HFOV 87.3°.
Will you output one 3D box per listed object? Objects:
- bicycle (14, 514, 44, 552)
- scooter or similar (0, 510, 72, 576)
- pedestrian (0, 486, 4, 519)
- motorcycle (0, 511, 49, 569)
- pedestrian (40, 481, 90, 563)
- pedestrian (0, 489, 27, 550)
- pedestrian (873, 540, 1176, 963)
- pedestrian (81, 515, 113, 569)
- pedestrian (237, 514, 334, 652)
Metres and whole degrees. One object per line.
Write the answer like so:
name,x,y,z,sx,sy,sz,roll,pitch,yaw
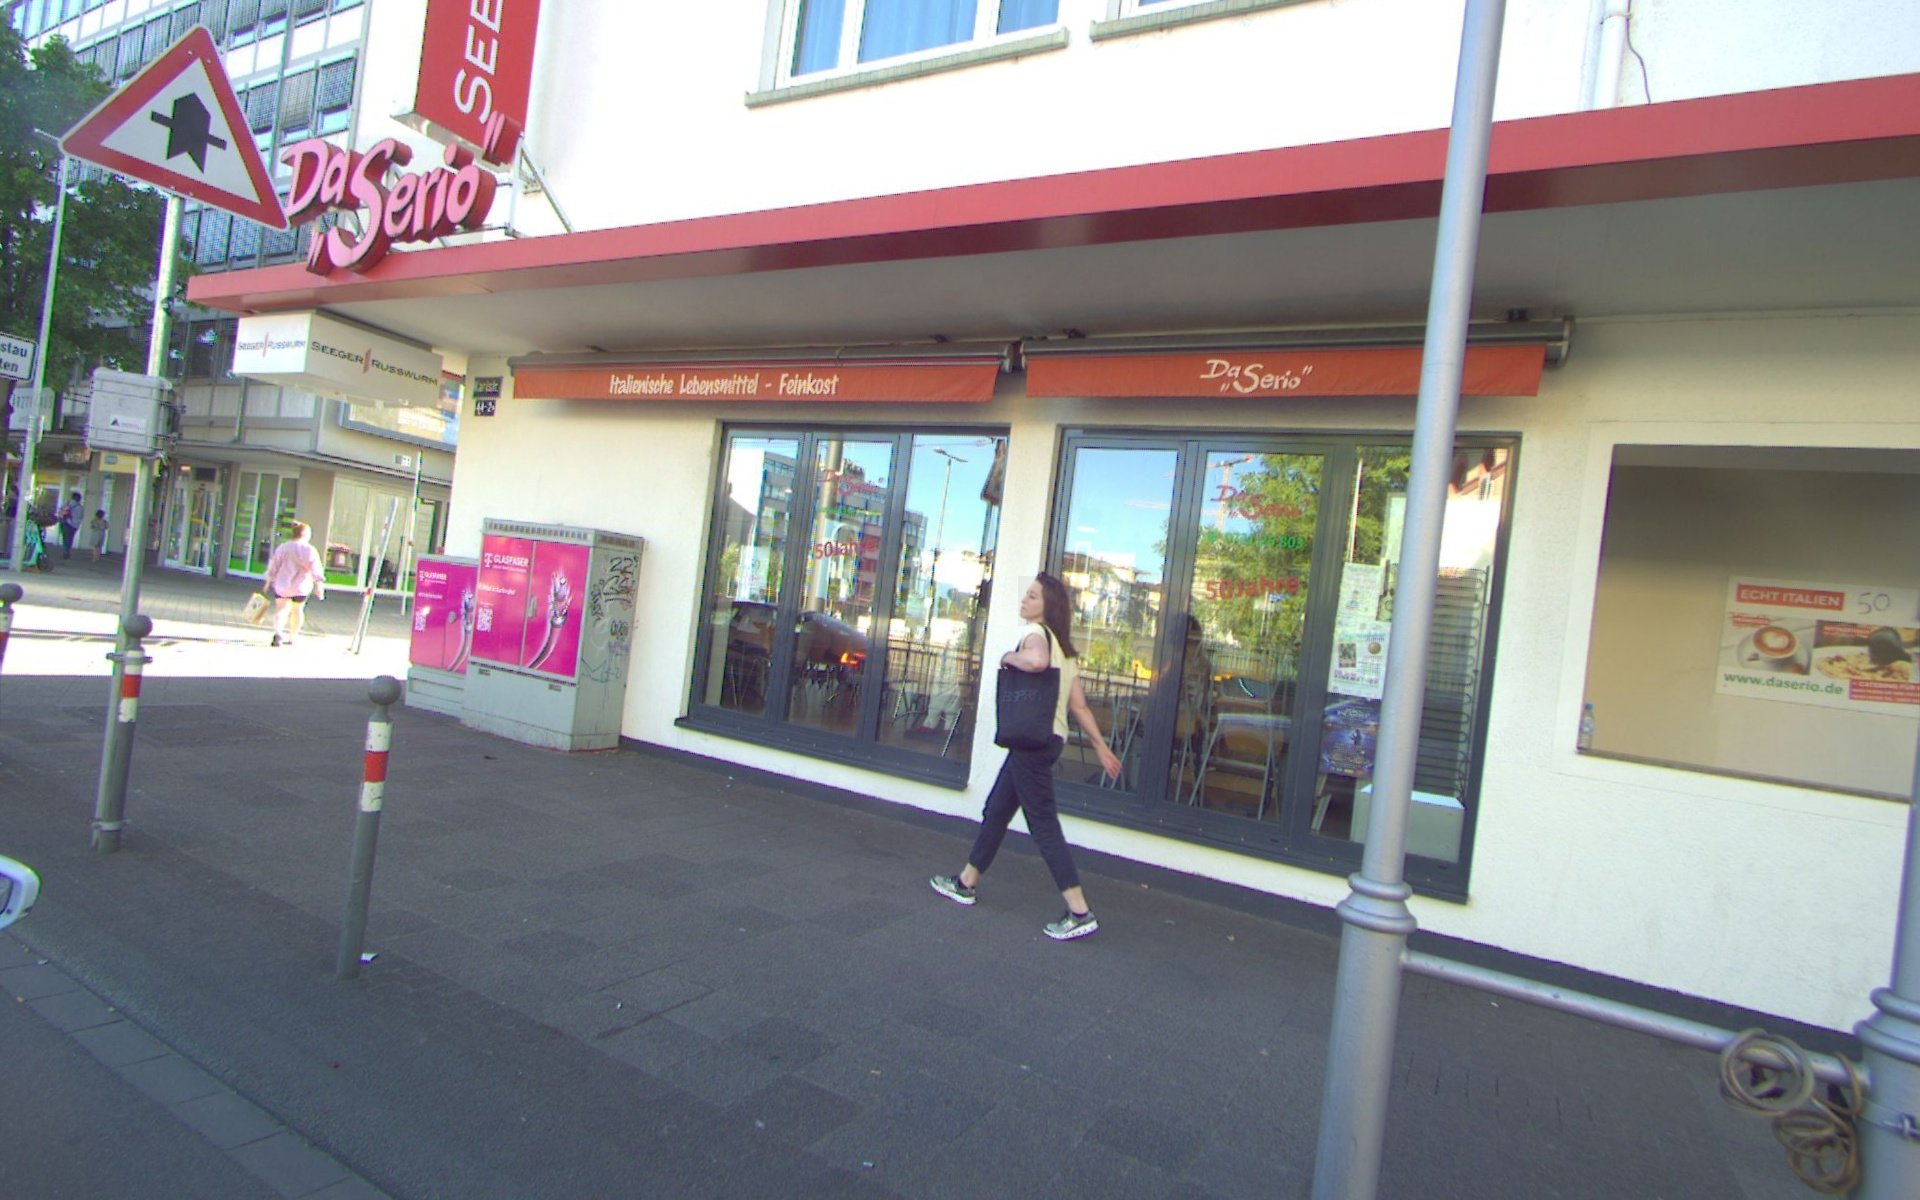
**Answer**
bicycle,-28.096,-2.024,30.348,1.237,1.046,0.332,6,-1,36
scooter or similar,-19.936,-1.235,21.174,1.628,1.229,0.640,8,-1,-29
pedestrian,-28.604,-2.543,29.365,0.764,1.681,0.701,6,-1,31
motorcycle,-21.588,-1.416,22.417,0.532,1.186,1.711,7,-2,30
pedestrian,-23.464,-2.042,26.386,0.570,2.037,0.663,6,-1,34
pedestrian,-28.377,-2.405,30.060,0.397,1.730,0.526,6,-1,37
pedestrian,0.346,0.681,5.013,1.020,1.773,0.916,7,0,29
pedestrian,-23.062,-1.550,26.875,0.504,1.359,0.390,6,-1,34
pedestrian,-9.030,-0.222,13.484,0.884,1.687,0.801,8,-1,-35
